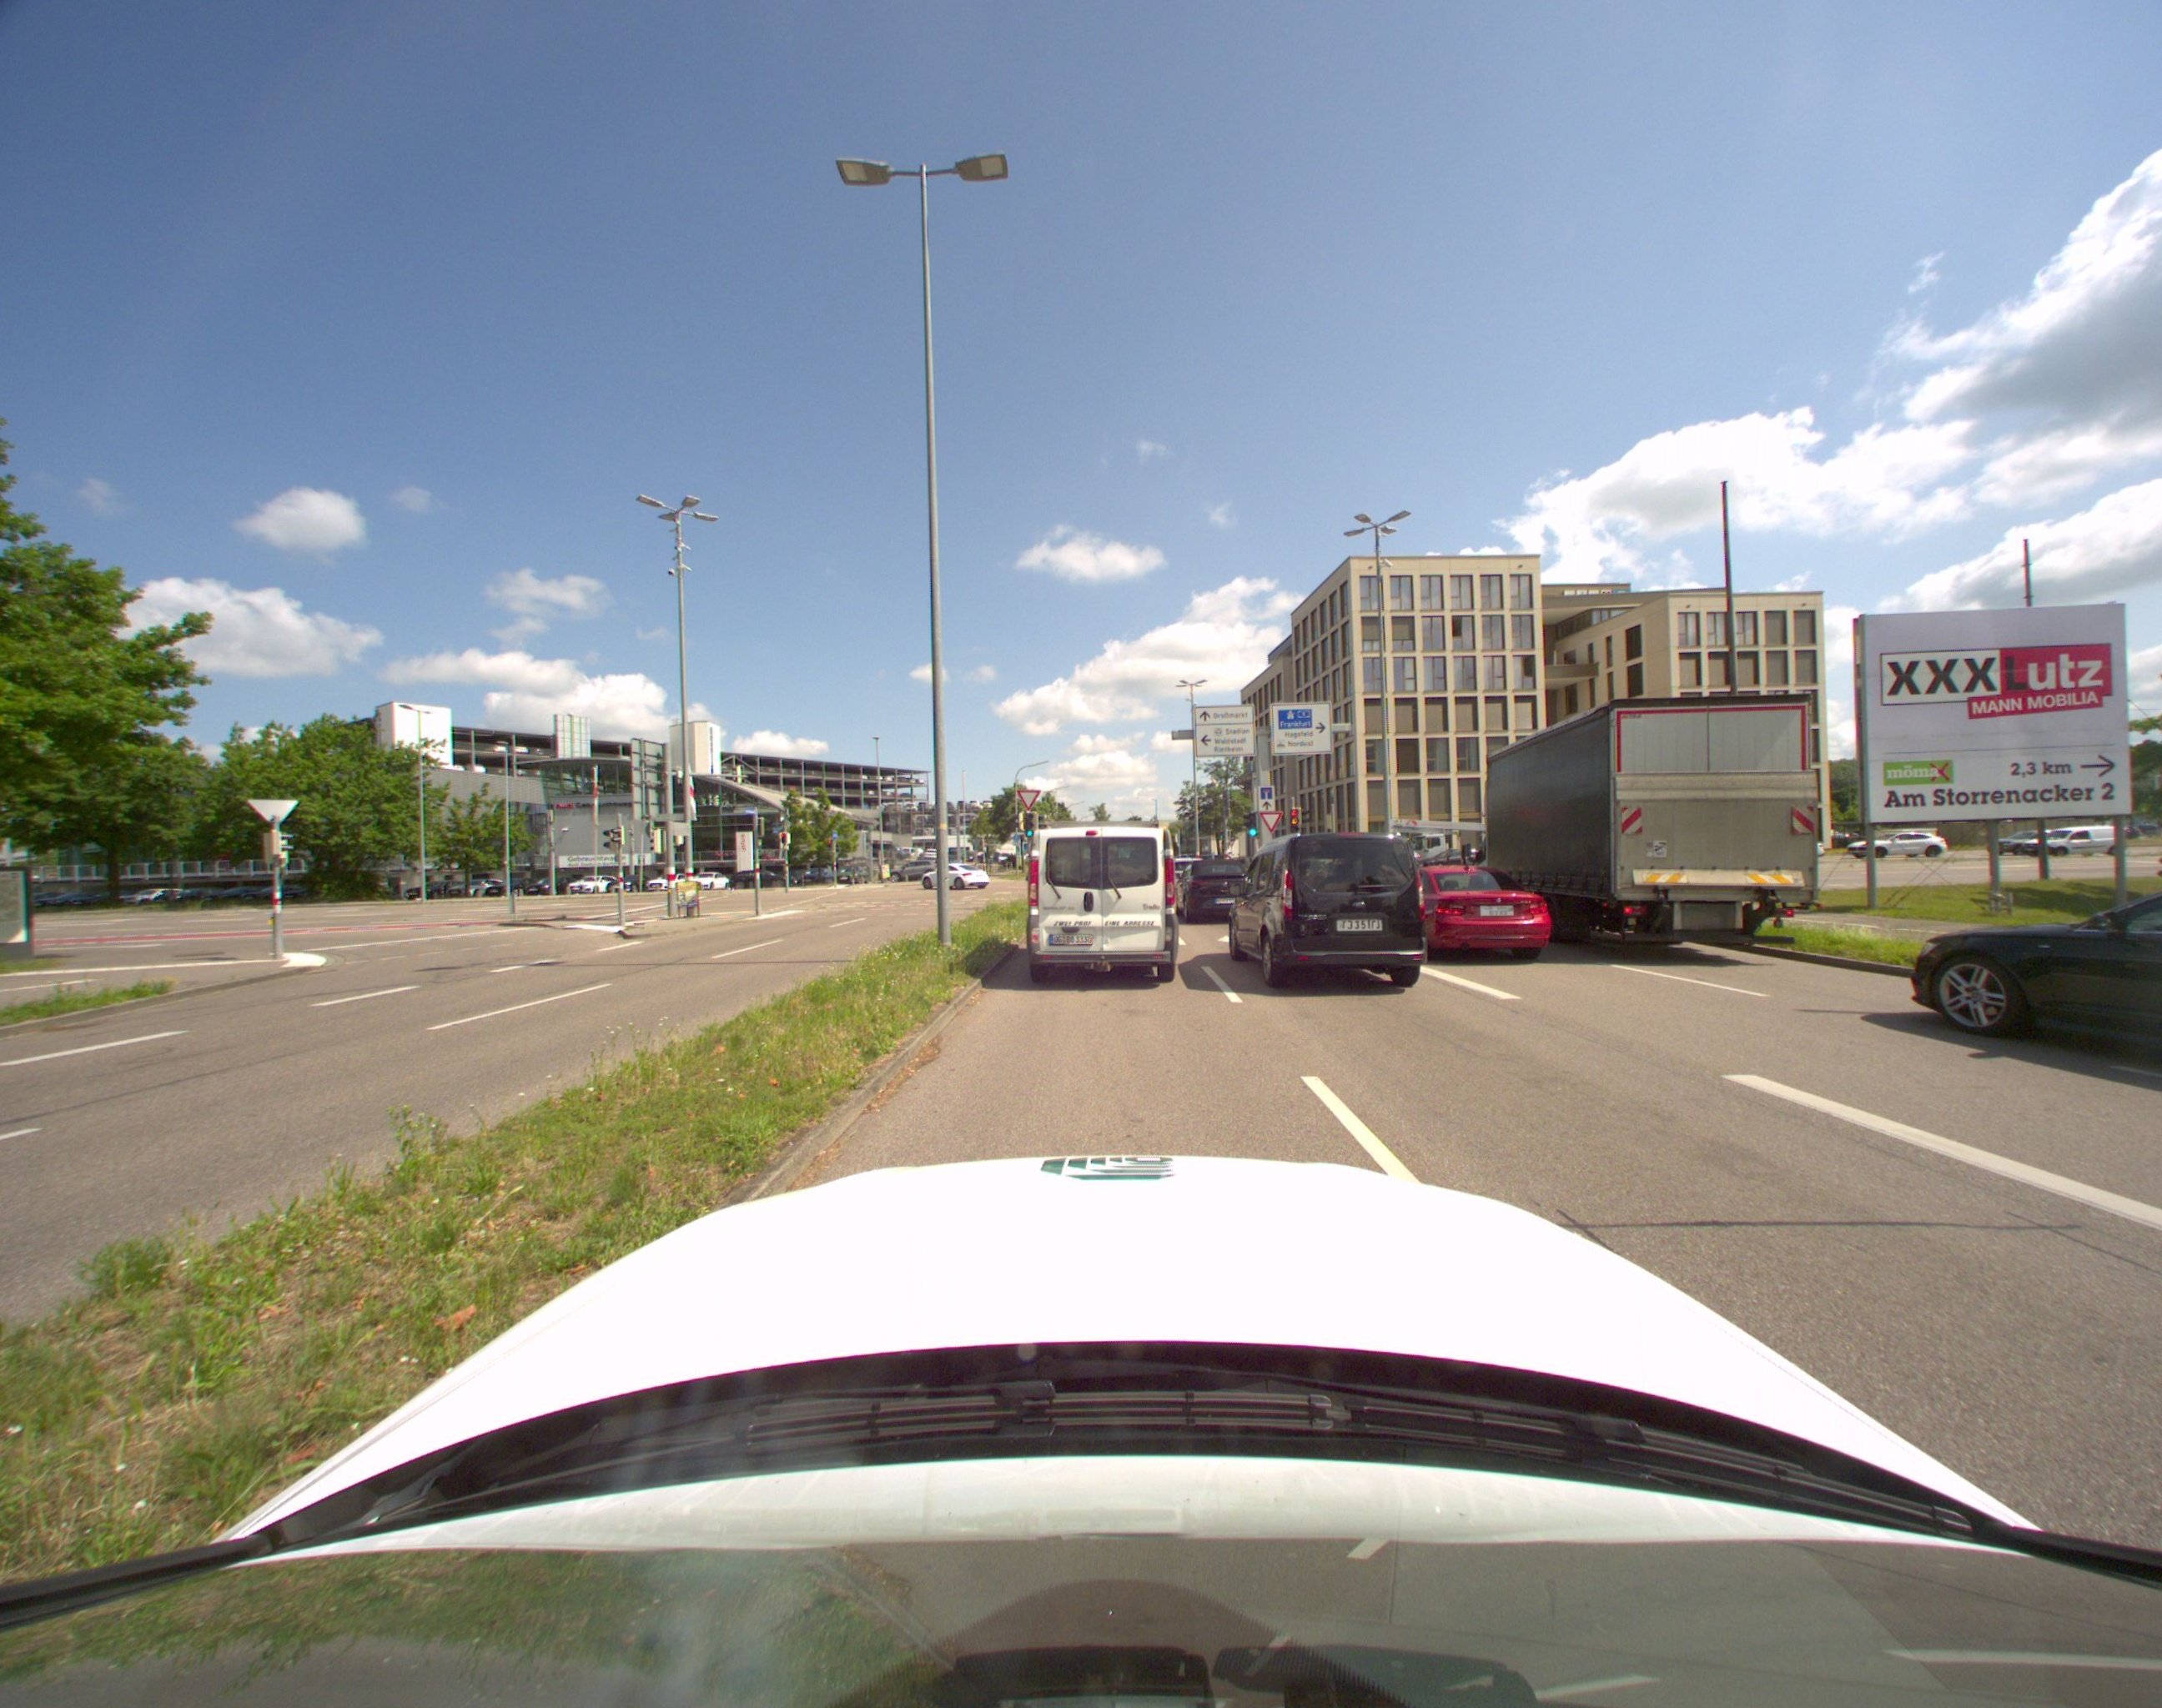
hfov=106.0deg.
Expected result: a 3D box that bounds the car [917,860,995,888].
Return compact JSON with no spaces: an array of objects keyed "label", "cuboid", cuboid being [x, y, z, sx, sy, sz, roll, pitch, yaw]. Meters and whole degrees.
[{"label":"car","cuboid":[-6.674,1.072,43.317,3.948,1.442,1.872,-1,-2,39]}]

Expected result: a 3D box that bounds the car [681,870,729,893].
[{"label":"car","cuboid":[-27.271,2.013,59.178,1.786,1.464,3.995,-2,-3,-3]}]

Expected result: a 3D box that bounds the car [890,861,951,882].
[{"label":"car","cuboid":[-13.134,1.414,66.847,4.562,1.678,1.906,0,-1,-2]}]

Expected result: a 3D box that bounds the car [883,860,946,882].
[{"label":"car","cuboid":[-13.132,1.336,64.491,4.562,1.678,1.906,0,-1,-2]}]

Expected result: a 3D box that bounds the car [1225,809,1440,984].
[{"label":"car","cuboid":[3.117,0.490,10.977,1.816,1.905,4.003,-1,-1,3]}]

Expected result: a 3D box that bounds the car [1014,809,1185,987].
[{"label":"car","cuboid":[0.290,0.540,11.847,1.965,2.060,4.566,-1,-1,2]}]

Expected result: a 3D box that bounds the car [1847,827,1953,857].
[{"label":"car","cuboid":[53.998,-0.787,53.778,4.667,1.838,1.834,-1,-1,12]}]

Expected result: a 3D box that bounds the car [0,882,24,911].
[{"label":"car","cuboid":[-77.862,3.050,56.962,1.896,2.049,4.585,0,-1,-3]}]

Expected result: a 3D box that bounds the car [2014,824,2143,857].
[{"label":"car","cuboid":[59.676,-0.800,48.797,4.754,1.838,1.834,-1,-1,12]}]

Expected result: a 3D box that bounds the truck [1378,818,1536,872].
[{"label":"truck","cuboid":[25.420,-0.598,55.267,9.737,3.555,2.670,0,-1,-6]}]

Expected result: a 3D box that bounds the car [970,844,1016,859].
[{"label":"car","cuboid":[-12.446,-0.361,115.813,6.373,2.102,1.763,0,-1,-4]}]

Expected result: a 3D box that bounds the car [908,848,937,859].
[{"label":"car","cuboid":[-22.610,-0.032,116.029,3.987,1.552,1.759,0,-1,-10]}]

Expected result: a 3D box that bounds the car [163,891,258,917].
[{"label":"car","cuboid":[-61.849,3.536,57.971,1.896,1.678,4.585,0,-1,-3]}]

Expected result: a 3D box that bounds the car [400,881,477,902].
[{"label":"car","cuboid":[-45.696,2.642,58.057,1.896,1.405,4.584,0,-2,-3]}]

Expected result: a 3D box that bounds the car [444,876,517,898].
[{"label":"car","cuboid":[-42.934,2.410,58.360,1.896,1.405,4.584,0,-4,-3]}]

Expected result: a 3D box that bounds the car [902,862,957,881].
[{"label":"car","cuboid":[-13.555,1.564,73.013,4.562,1.678,1.906,0,-1,-2]}]

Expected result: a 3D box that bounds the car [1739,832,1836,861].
[{"label":"car","cuboid":[47.507,-0.476,54.873,4.683,1.838,1.832,-1,-1,8]}]

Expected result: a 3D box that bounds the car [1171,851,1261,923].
[{"label":"car","cuboid":[3.332,0.774,20.792,1.767,1.629,4.002,-1,-1,2]}]

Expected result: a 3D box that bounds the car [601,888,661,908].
[{"label":"car","cuboid":[-32.350,3.135,58.711,1.896,1.297,4.585,0,-1,-3]}]

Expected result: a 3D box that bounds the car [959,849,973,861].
[{"label":"car","cuboid":[-15.411,0.173,108.901,1.557,1.552,3.598,0,-1,-3]}]

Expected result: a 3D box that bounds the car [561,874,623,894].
[{"label":"car","cuboid":[-35.196,2.140,58.767,1.896,1.297,4.585,0,-1,-3]}]

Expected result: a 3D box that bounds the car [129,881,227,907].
[{"label":"car","cuboid":[-64.047,2.805,57.865,1.896,1.678,4.585,0,-1,-3]}]

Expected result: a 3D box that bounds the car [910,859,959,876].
[{"label":"car","cuboid":[-14.885,1.417,82.938,4.562,1.678,1.906,0,-1,-2]}]

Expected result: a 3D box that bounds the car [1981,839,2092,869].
[{"label":"car","cuboid":[61.604,0.045,52.585,4.401,1.838,1.834,-1,-1,12]}]

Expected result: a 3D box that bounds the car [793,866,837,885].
[{"label":"car","cuboid":[-19.442,1.569,59.804,1.896,1.297,4.585,0,-1,-3]}]

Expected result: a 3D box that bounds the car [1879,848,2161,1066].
[{"label":"car","cuboid":[8.210,0.685,5.193,1.767,1.478,4.681,-1,-1,2]}]

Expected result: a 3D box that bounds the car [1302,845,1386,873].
[{"label":"car","cuboid":[17.631,0.340,54.722,4.969,1.838,1.996,0,-1,-6]}]

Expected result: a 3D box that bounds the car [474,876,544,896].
[{"label":"car","cuboid":[-40.752,2.287,58.165,1.896,1.384,4.584,0,-3,-3]}]

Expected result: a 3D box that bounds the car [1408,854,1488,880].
[{"label":"car","cuboid":[23.052,0.826,51.272,4.184,1.627,1.828,0,-1,0]}]

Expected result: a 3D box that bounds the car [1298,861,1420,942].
[{"label":"car","cuboid":[6.776,1.083,20.321,1.850,1.655,4.225,3,0,5]}]

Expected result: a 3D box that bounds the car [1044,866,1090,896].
[{"label":"car","cuboid":[-0.562,1.175,36.282,1.766,1.201,4.003,-1,-1,3]}]

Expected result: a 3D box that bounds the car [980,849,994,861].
[{"label":"car","cuboid":[-12.465,0.154,108.331,1.557,1.552,3.598,-1,-1,-3]}]

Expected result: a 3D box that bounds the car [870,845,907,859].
[{"label":"car","cuboid":[-24.487,-0.246,103.705,4.432,1.801,1.762,0,-1,-4]}]

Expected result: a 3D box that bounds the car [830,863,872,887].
[{"label":"car","cuboid":[-16.856,1.542,59.898,1.896,1.678,4.585,0,-1,-3]}]

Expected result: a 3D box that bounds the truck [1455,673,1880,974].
[{"label":"truck","cuboid":[10.018,-0.323,15.652,3.191,4.027,9.099,-1,-1,12]}]

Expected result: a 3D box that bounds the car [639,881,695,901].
[{"label":"car","cuboid":[-29.996,2.650,59.198,1.896,1.297,4.585,0,-1,-3]}]

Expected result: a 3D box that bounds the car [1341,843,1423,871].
[{"label":"car","cuboid":[17.708,0.196,48.036,4.192,1.627,1.824,0,-1,-6]}]

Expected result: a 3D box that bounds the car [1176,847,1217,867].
[{"label":"car","cuboid":[12.084,0.291,85.316,3.982,2.014,1.995,0,-1,-7]}]

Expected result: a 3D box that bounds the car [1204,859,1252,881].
[{"label":"car","cuboid":[13.603,1.507,75.656,3.982,2.014,1.995,0,-1,-7]}]

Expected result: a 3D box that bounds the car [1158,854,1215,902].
[{"label":"car","cuboid":[3.869,0.864,30.343,1.766,1.629,4.003,-1,-1,3]}]

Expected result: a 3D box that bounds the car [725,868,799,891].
[{"label":"car","cuboid":[-23.481,1.906,60.094,4.731,1.464,1.793,-2,-3,-4]}]

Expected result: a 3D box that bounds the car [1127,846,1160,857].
[{"label":"car","cuboid":[12.417,-0.449,162.204,6.321,2.014,2.572,0,-1,-1]}]

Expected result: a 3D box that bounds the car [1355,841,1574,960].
[{"label":"car","cuboid":[6.079,0.699,13.521,1.851,1.656,4.222,-1,-1,4]}]
